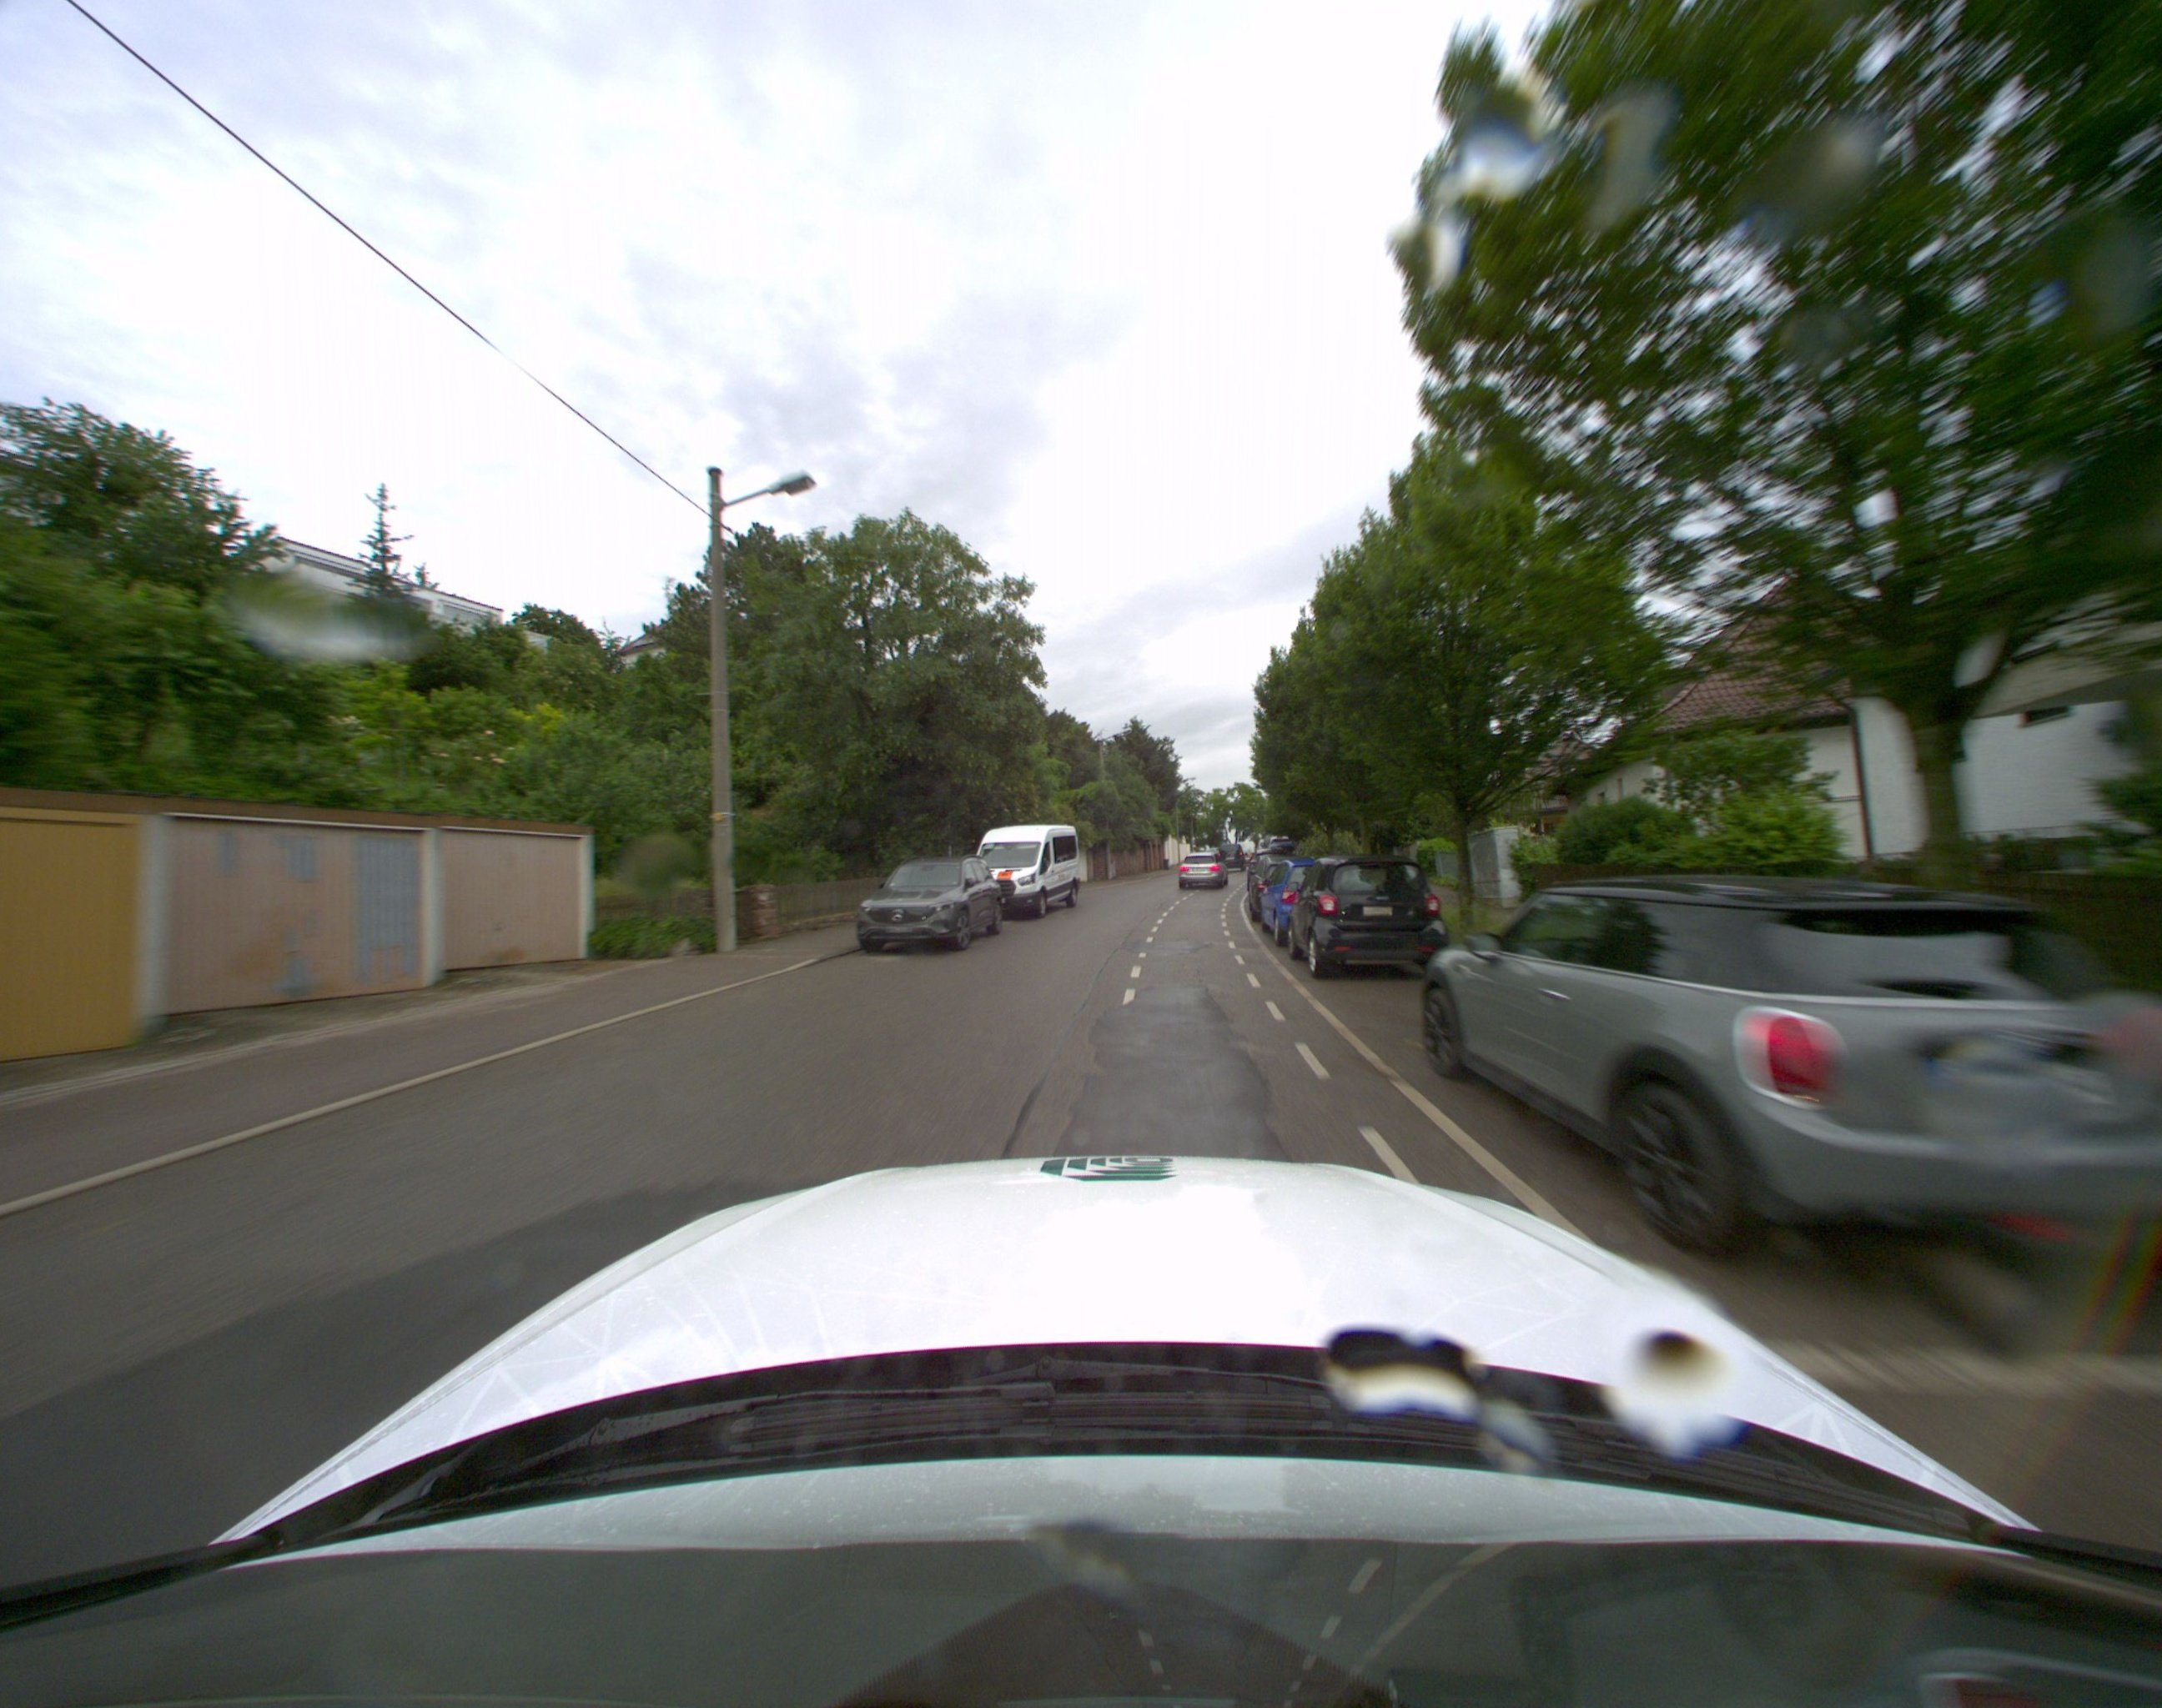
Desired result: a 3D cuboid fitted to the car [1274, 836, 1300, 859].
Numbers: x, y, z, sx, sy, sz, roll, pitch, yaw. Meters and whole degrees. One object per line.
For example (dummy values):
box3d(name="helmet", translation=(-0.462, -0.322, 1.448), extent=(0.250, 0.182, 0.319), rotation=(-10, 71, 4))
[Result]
box3d(name="car", translation=(16.923, -0.543, 67.058), extent=(1.769, 1.783, 4.693), rotation=(-2, 0, 11))

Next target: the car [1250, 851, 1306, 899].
box3d(name="car", translation=(6.345, 0.612, 26.529), extent=(1.632, 1.424, 4.302), rotation=(0, 0, 12))

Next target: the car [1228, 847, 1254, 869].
box3d(name="car", translation=(13.211, 0.333, 67.074), extent=(1.980, 1.708, 4.014), rotation=(-2, -1, 13))

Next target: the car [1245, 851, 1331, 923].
box3d(name="car", translation=(4.992, 0.718, 20.167), extent=(1.764, 1.553, 4.742), rotation=(-1, 0, 11))

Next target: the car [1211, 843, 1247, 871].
box3d(name="car", translation=(9.732, 0.200, 53.830), extent=(1.984, 1.708, 4.006), rotation=(-1, -1, 6))

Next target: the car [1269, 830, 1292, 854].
box3d(name="car", translation=(21.398, -1.253, 87.498), extent=(2.159, 2.492, 6.053), rotation=(0, 1, 12))

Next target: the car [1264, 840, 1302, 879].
box3d(name="car", translation=(10.321, 0.236, 41.521), extent=(1.765, 1.852, 4.442), rotation=(-1, 1, 15))

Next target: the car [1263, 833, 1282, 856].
box3d(name="car", translation=(24.964, -1.271, 106.418), extent=(2.111, 2.886, 5.786), rotation=(-1, 1, 10))

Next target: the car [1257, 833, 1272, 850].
box3d(name="car", translation=(27.429, -1.896, 121.945), extent=(2.051, 2.494, 4.775), rotation=(-1, 1, 11))

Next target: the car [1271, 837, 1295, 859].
box3d(name="car", translation=(19.844, -0.620, 80.054), extent=(1.981, 2.052, 5.137), rotation=(-2, 0, 11))

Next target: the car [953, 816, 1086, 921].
box3d(name="car", translation=(-1.536, 0.331, 23.400), extent=(2.080, 2.550, 6.118), rotation=(-2, 0, 12))

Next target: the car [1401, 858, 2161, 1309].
box3d(name="car", translation=(3.221, 0.760, 4.555), extent=(1.661, 1.471, 3.715), rotation=(0, 0, 5))

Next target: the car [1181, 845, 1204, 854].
box3d(name="car", translation=(22.036, -0.905, 160.730), extent=(1.979, 1.697, 4.620), rotation=(-1, 1, -34))

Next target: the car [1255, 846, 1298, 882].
box3d(name="car", translation=(8.863, 0.410, 36.724), extent=(1.636, 1.481, 4.037), rotation=(-1, 0, 16))

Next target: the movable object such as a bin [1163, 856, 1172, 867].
box3d(name="movable object such as a bin", translation=(7.581, 0.656, 71.735), extent=(0.653, 0.919, 0.680), rotation=(-2, 0, 14))

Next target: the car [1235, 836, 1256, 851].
box3d(name="car", translation=(29.308, -1.892, 145.266), extent=(2.128, 2.526, 4.476), rotation=(-1, 1, -14))

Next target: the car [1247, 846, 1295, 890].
box3d(name="car", translation=(7.404, 0.499, 31.526), extent=(1.702, 1.556, 4.180), rotation=(0, 1, 14))

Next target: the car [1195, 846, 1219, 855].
box3d(name="car", translation=(24.305, -0.697, 157.422), extent=(1.980, 1.697, 4.445), rotation=(-1, 1, -38))

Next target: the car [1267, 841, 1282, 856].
box3d(name="car", translation=(23.788, -0.757, 100.291), extent=(1.716, 1.785, 4.289), rotation=(1, 1, 11))

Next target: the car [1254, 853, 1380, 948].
box3d(name="car", translation=(4.255, 0.755, 15.242), extent=(1.645, 1.519, 4.008), rotation=(-1, 0, 7))

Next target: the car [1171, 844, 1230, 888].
box3d(name="car", translation=(5.059, 0.481, 34.147), extent=(2.011, 1.708, 4.231), rotation=(-2, -1, 14))

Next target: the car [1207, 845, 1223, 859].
box3d(name="car", translation=(15.594, -0.254, 94.593), extent=(1.737, 1.357, 4.438), rotation=(-5, 0, 10))

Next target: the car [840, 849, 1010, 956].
box3d(name="car", translation=(-2.786, 0.796, 15.725), extent=(1.886, 1.691, 4.553), rotation=(-3, 0, 6))

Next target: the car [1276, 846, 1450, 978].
box3d(name="car", translation=(3.731, 0.704, 11.257), extent=(1.618, 1.563, 3.027), rotation=(-1, 0, 6))
